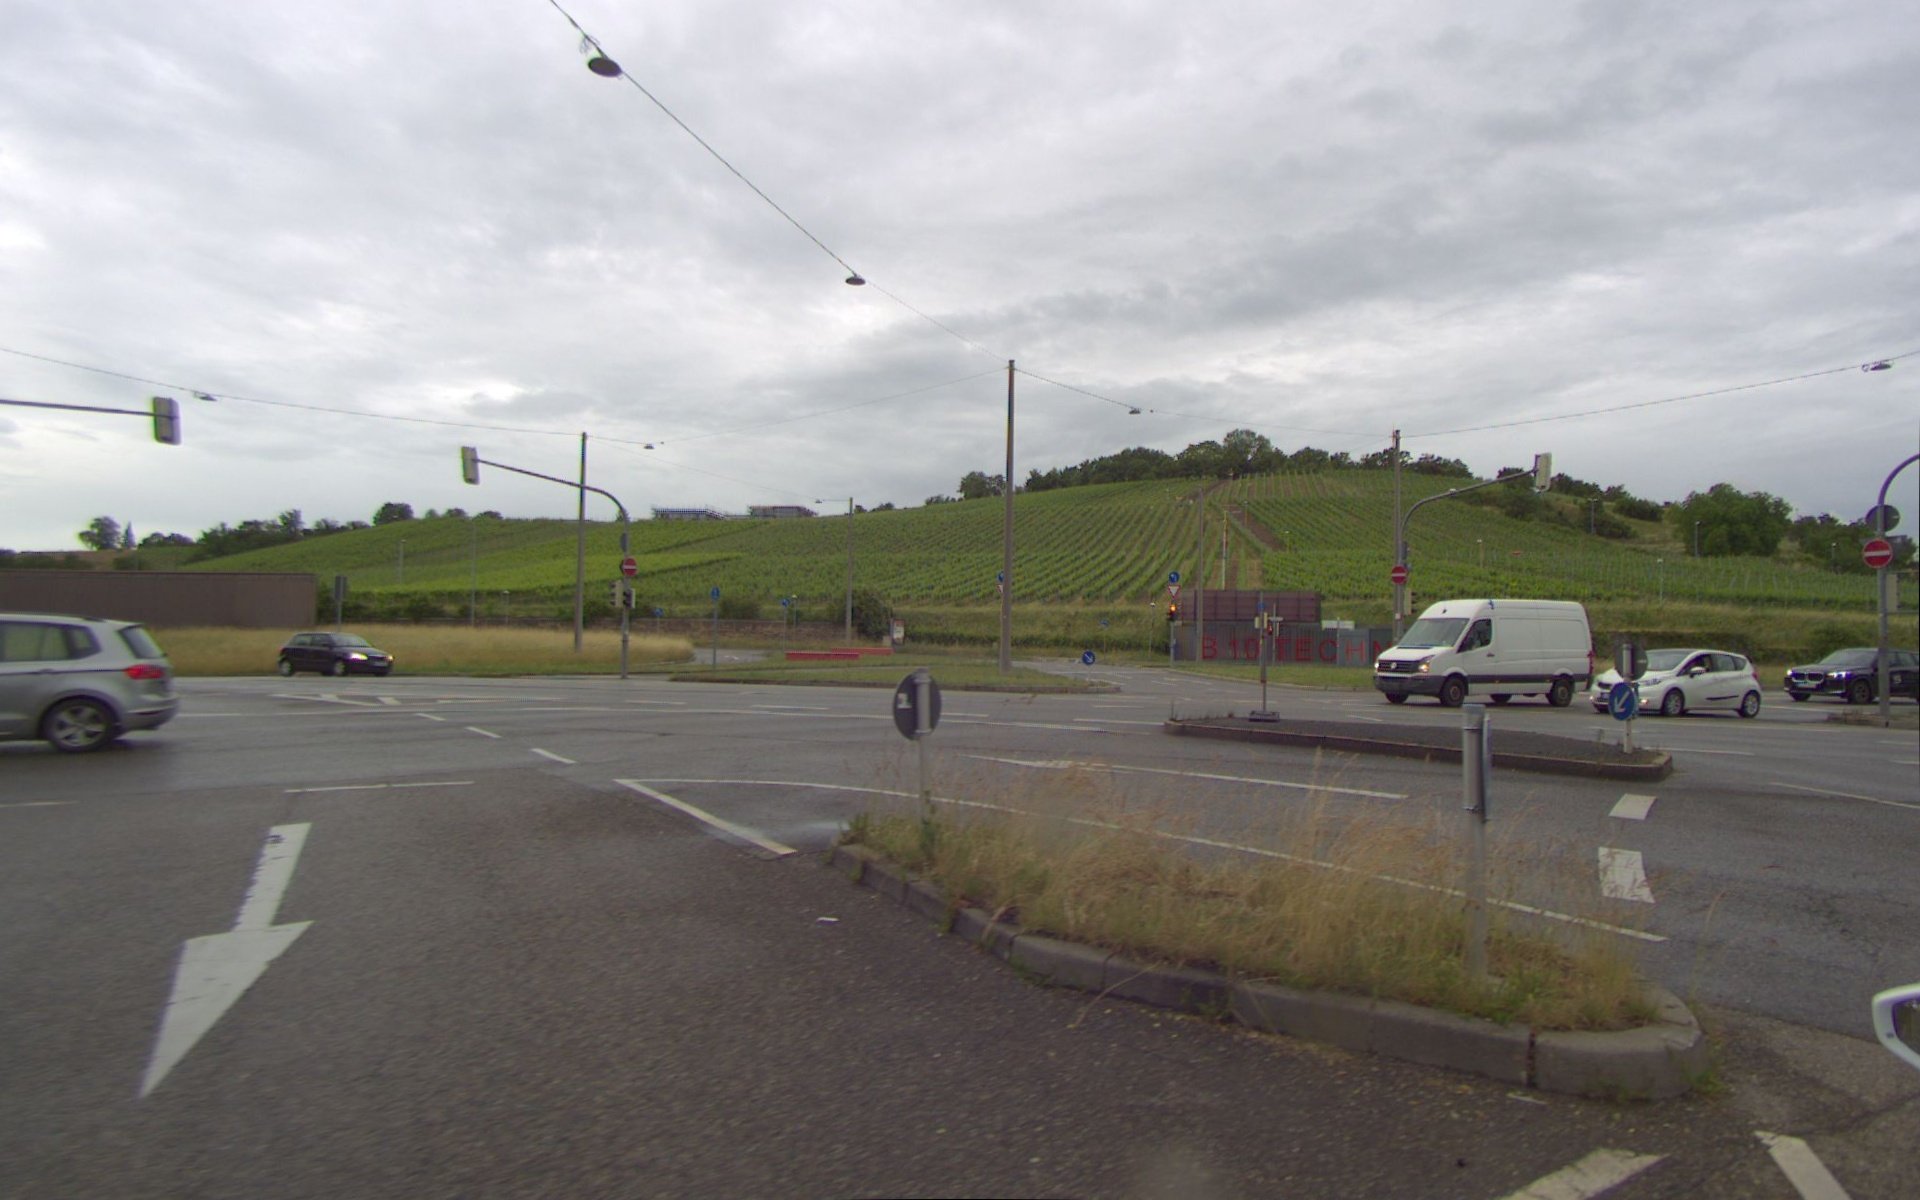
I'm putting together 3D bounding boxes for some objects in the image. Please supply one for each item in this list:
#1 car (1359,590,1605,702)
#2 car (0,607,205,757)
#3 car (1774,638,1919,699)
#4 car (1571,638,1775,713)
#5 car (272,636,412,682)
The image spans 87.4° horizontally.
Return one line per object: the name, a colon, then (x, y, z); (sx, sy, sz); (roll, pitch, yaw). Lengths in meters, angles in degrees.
car: (13.200, 1.192, 25.347); (6.078, 2.593, 1.990); (2, -2, -21)
car: (-11.381, 0.892, 11.506); (4.149, 1.596, 1.982); (2, -1, -32)
car: (26.943, 2.037, 30.047); (4.435, 1.658, 1.776); (2, 0, -16)
car: (16.170, 1.701, 22.809); (3.936, 1.533, 1.750); (2, 0, -18)
car: (-20.520, 1.927, 33.371); (3.920, 1.306, 1.800); (2, 0, 18)
